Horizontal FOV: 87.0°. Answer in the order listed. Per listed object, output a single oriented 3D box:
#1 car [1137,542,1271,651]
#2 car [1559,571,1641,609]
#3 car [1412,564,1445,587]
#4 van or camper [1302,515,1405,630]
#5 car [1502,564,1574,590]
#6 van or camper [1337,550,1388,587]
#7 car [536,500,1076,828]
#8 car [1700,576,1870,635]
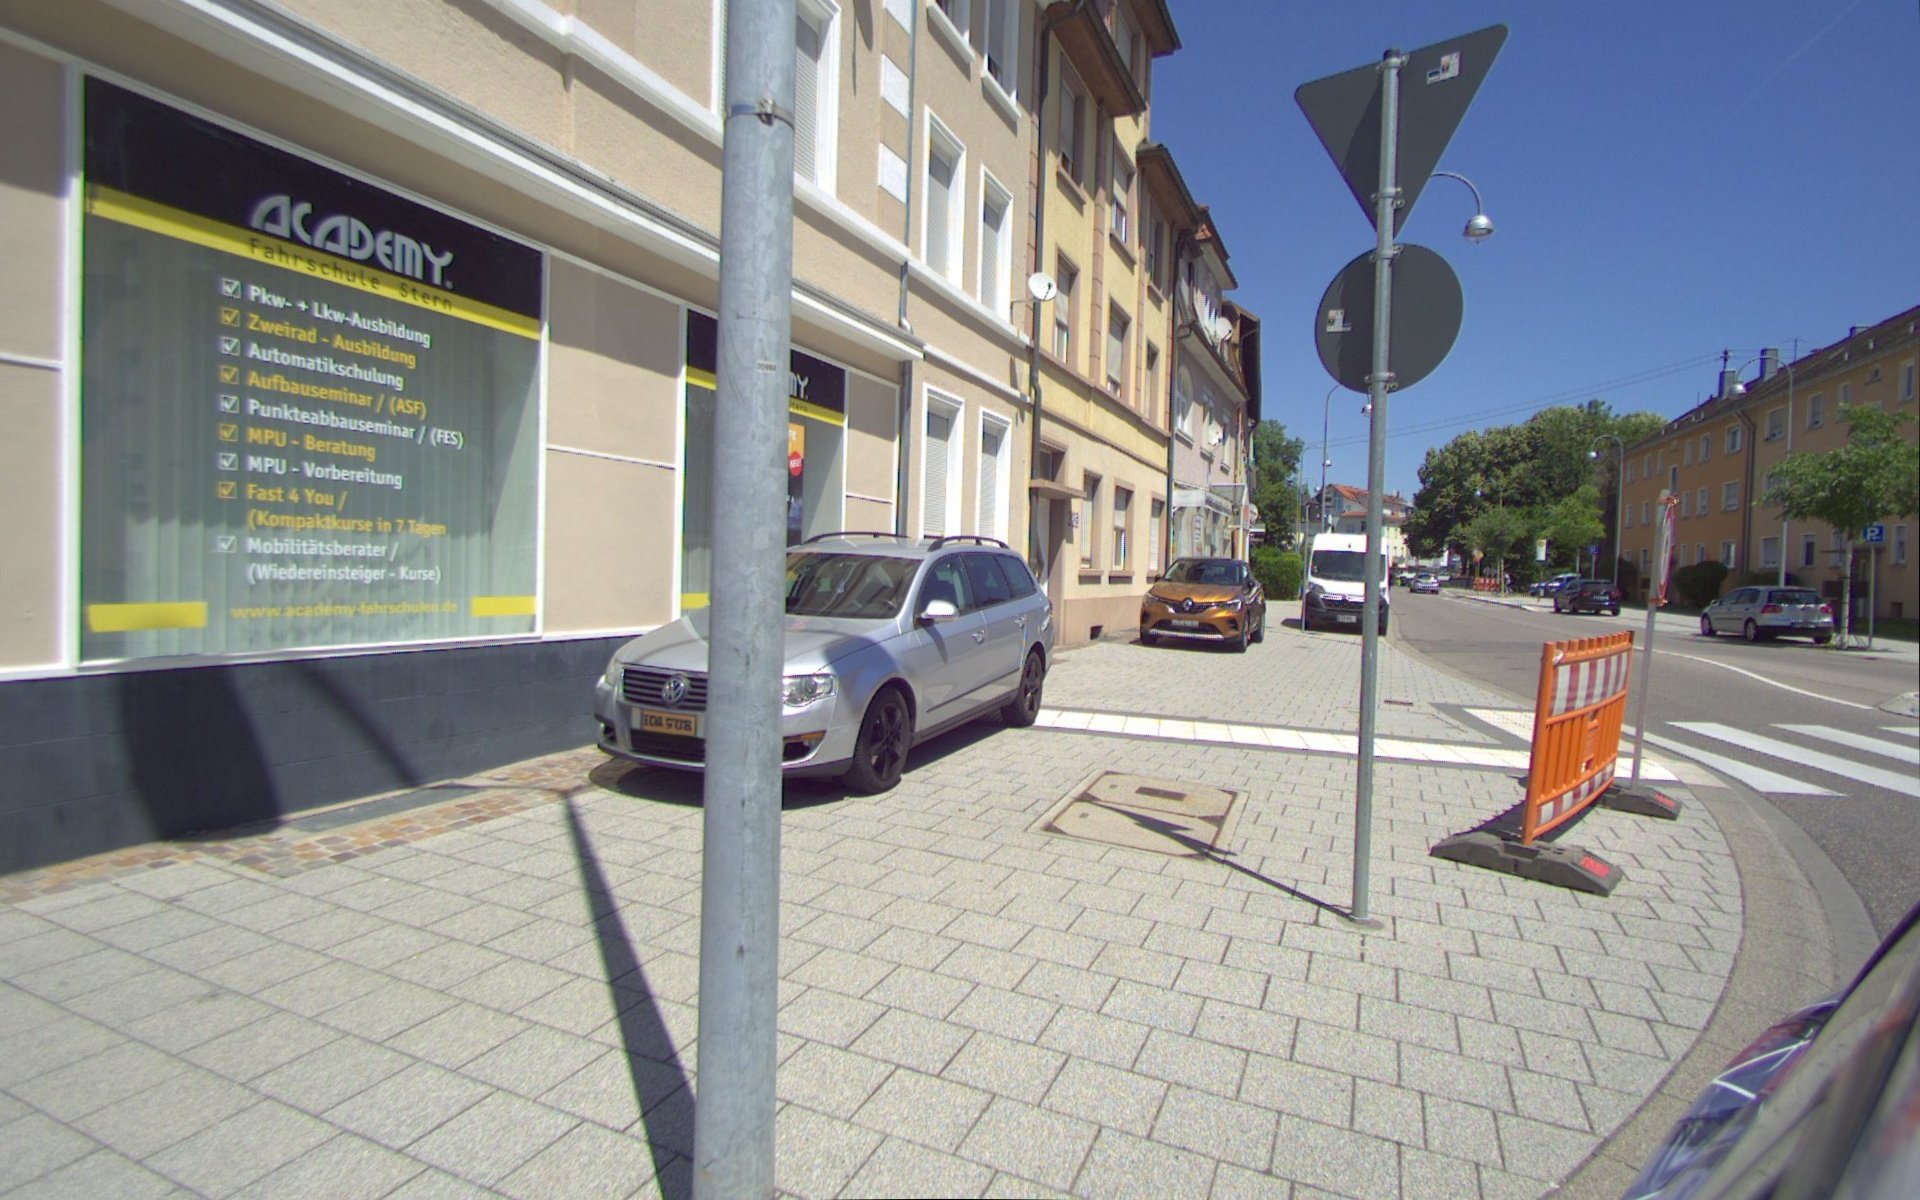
[{"bbox_3d":[4.524,-0.134,18.306,1.659,1.639,4.332,4,3,22],"label":"car"},{"bbox_3d":[27.034,-0.445,42.908,1.838,1.525,4.537,0,1,18],"label":"car"},{"bbox_3d":[33.906,-1.792,73.264,1.643,1.515,3.739,2,2,18],"label":"car"},{"bbox_3d":[10.296,-0.751,26.628,2.146,2.620,5.727,3,3,21],"label":"van or camper"},{"bbox_3d":[43.731,-1.761,76.635,4.366,1.897,1.814,1,2,10],"label":"car"},{"bbox_3d":[28.602,-2.204,72.071,2.081,2.498,6.158,2,1,10],"label":"van or camper"},{"bbox_3d":[-0.639,0.201,7.350,1.749,1.548,4.657,3,3,22],"label":"car"},{"bbox_3d":[22.038,0.101,27.256,1.971,1.437,4.072,0,1,14],"label":"car"}]
